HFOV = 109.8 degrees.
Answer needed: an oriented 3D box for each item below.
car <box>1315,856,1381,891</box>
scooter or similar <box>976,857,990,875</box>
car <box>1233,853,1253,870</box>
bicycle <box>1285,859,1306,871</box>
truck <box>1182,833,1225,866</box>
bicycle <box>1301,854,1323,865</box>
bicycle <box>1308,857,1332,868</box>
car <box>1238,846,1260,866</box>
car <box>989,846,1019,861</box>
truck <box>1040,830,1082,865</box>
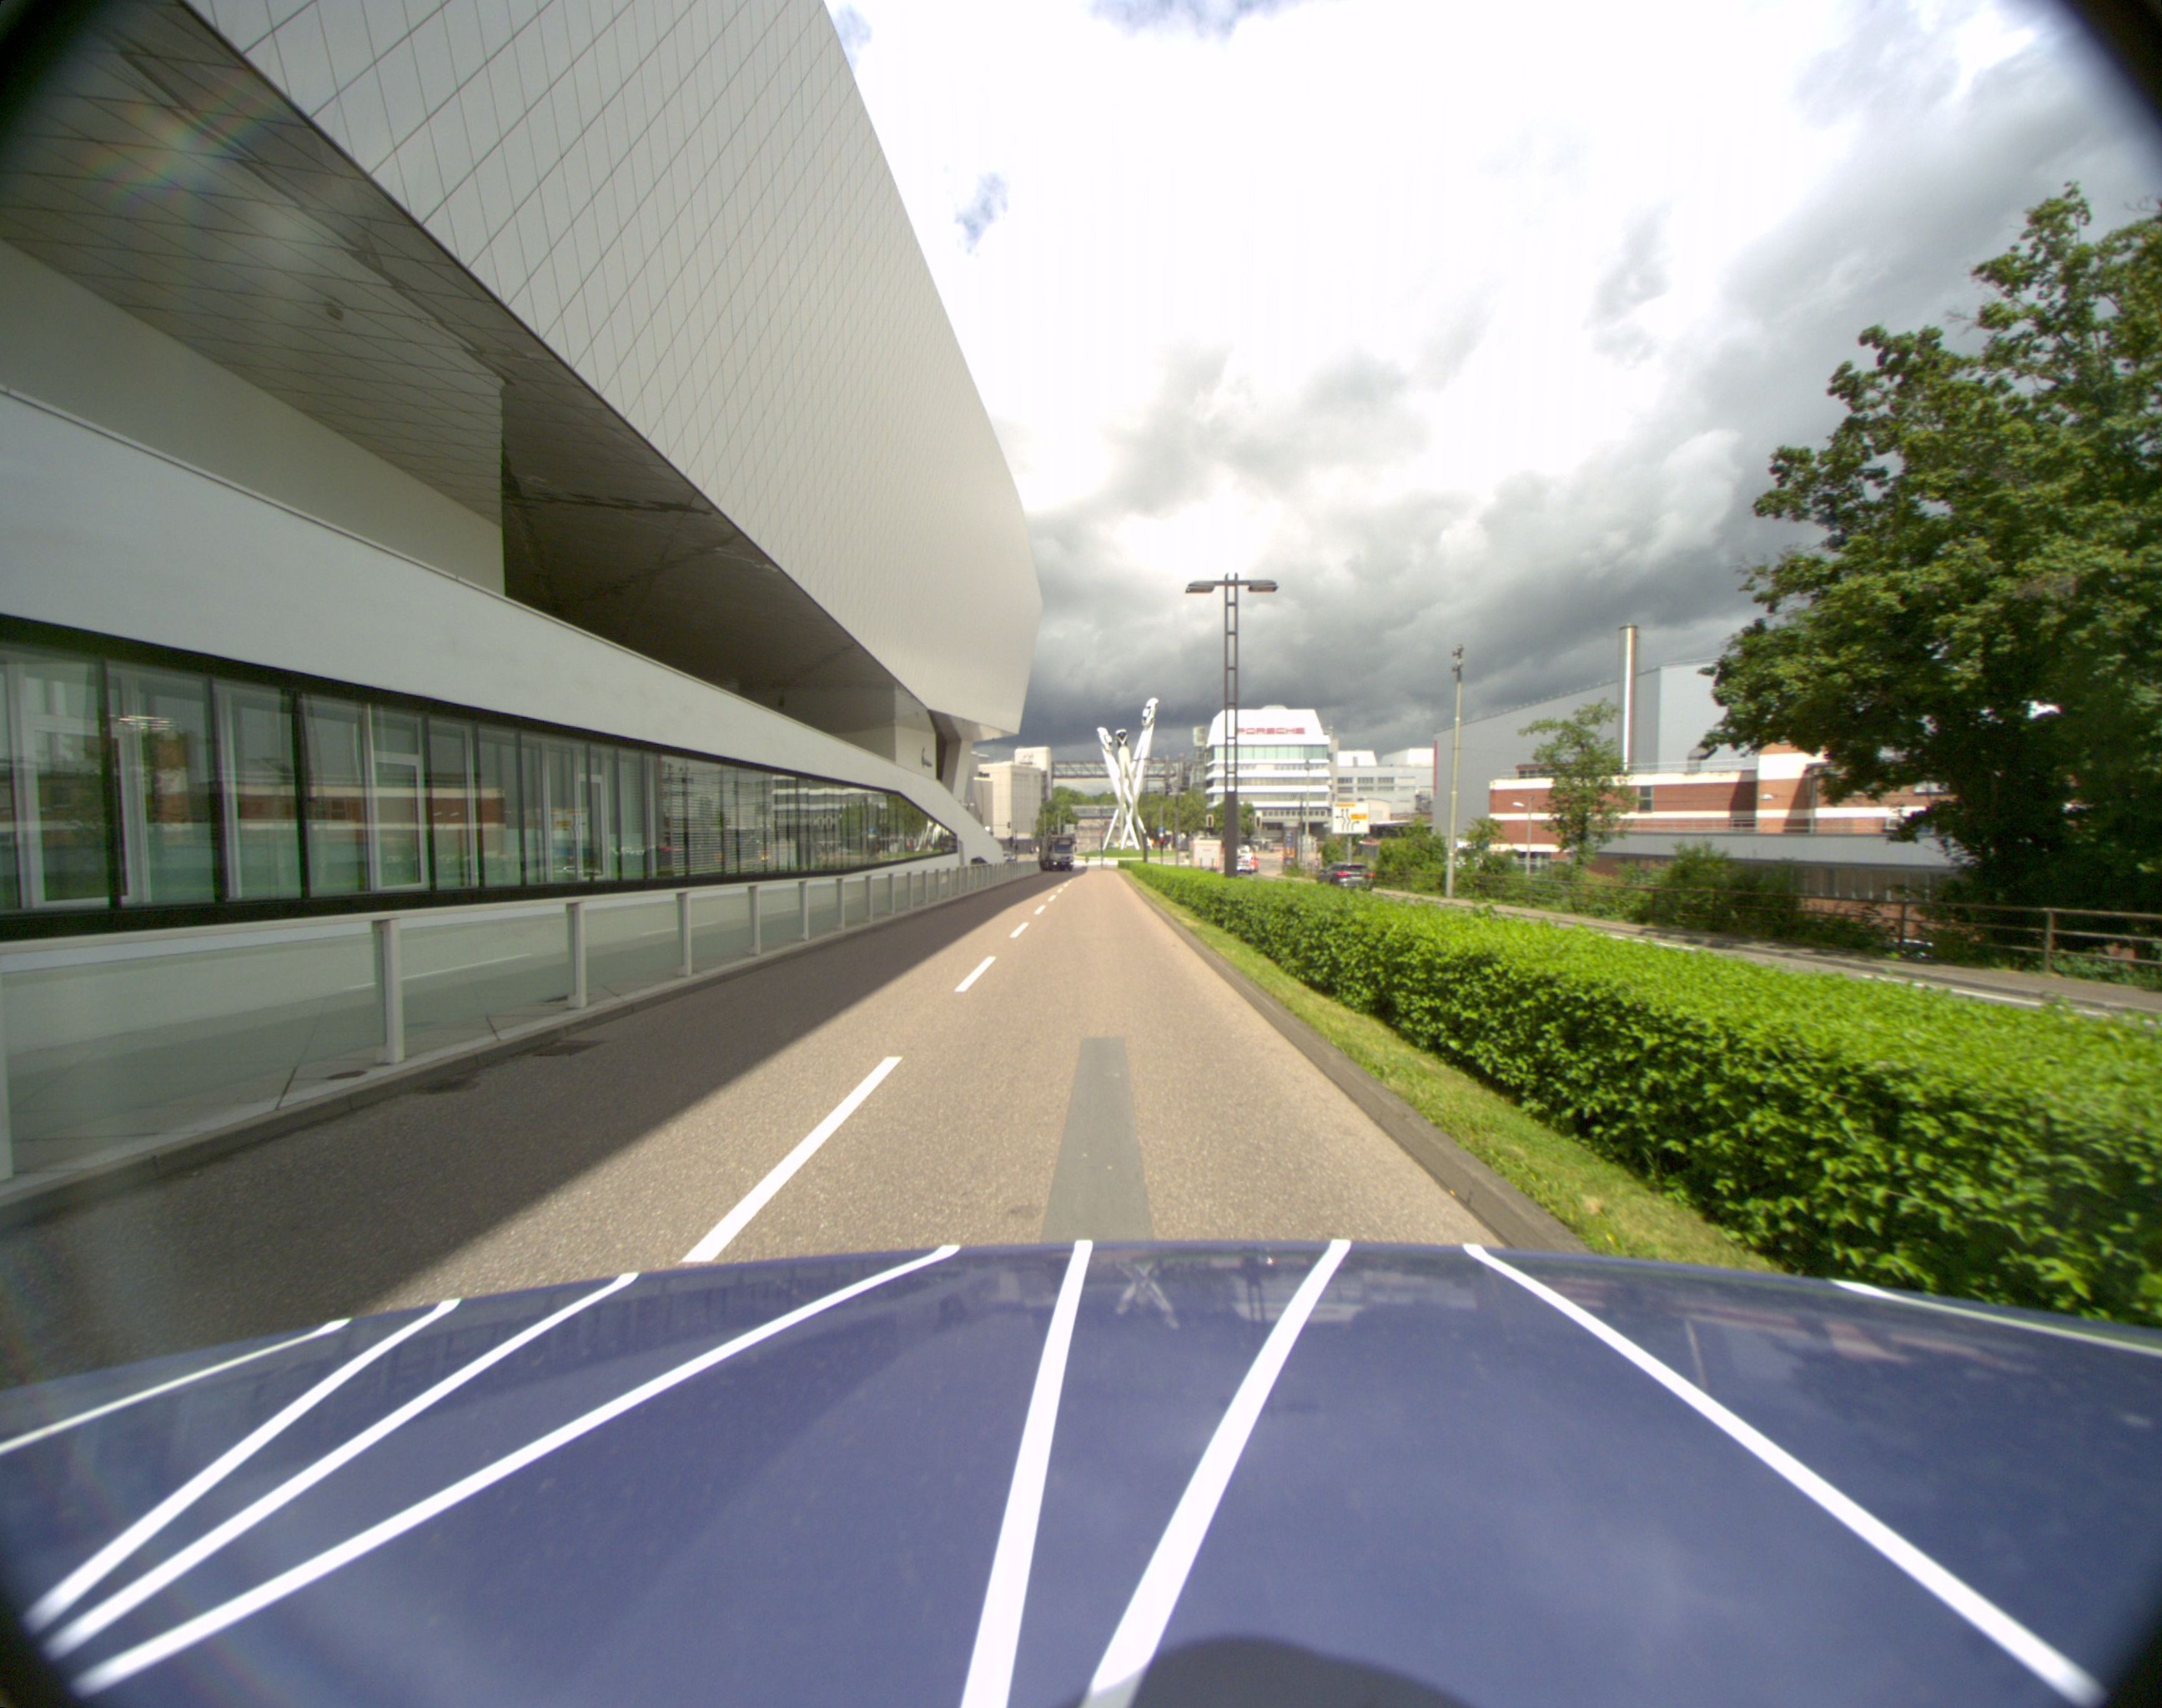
[{"bbox_3d":[12.565,0.883,36.022,1.844,1.499,4.562,0,0,5],"label":"car"},{"bbox_3d":[-6.980,0.852,54.131,0.708,1.236,1.952,-1,1,1],"label":"scooter or similar"},{"bbox_3d":[15.473,0.694,72.472,1.799,1.414,4.496,1,1,13],"label":"car"},{"bbox_3d":[21.548,1.067,76.294,2.041,1.161,0.621,0,1,10],"label":"bicycle"},{"bbox_3d":[11.374,-0.314,71.492,2.862,2.840,9.380,0,-1,2],"label":"truck"},{"bbox_3d":[21.304,0.502,70.022,1.952,0.983,0.620,0,0,-23],"label":"bicycle"},{"bbox_3d":[21.638,0.799,68.791,1.950,0.983,0.621,0,0,-7],"label":"bicycle"},{"bbox_3d":[17.528,0.215,79.113,1.996,1.947,4.633,0,1,16],"label":"car"},{"bbox_3d":[-10.273,-0.138,101.078,2.167,1.899,5.293,-1,1,-26],"label":"car"},{"bbox_3d":[-2.324,-0.749,83.493,2.846,3.669,10.740,0,1,-11],"label":"truck"}]
